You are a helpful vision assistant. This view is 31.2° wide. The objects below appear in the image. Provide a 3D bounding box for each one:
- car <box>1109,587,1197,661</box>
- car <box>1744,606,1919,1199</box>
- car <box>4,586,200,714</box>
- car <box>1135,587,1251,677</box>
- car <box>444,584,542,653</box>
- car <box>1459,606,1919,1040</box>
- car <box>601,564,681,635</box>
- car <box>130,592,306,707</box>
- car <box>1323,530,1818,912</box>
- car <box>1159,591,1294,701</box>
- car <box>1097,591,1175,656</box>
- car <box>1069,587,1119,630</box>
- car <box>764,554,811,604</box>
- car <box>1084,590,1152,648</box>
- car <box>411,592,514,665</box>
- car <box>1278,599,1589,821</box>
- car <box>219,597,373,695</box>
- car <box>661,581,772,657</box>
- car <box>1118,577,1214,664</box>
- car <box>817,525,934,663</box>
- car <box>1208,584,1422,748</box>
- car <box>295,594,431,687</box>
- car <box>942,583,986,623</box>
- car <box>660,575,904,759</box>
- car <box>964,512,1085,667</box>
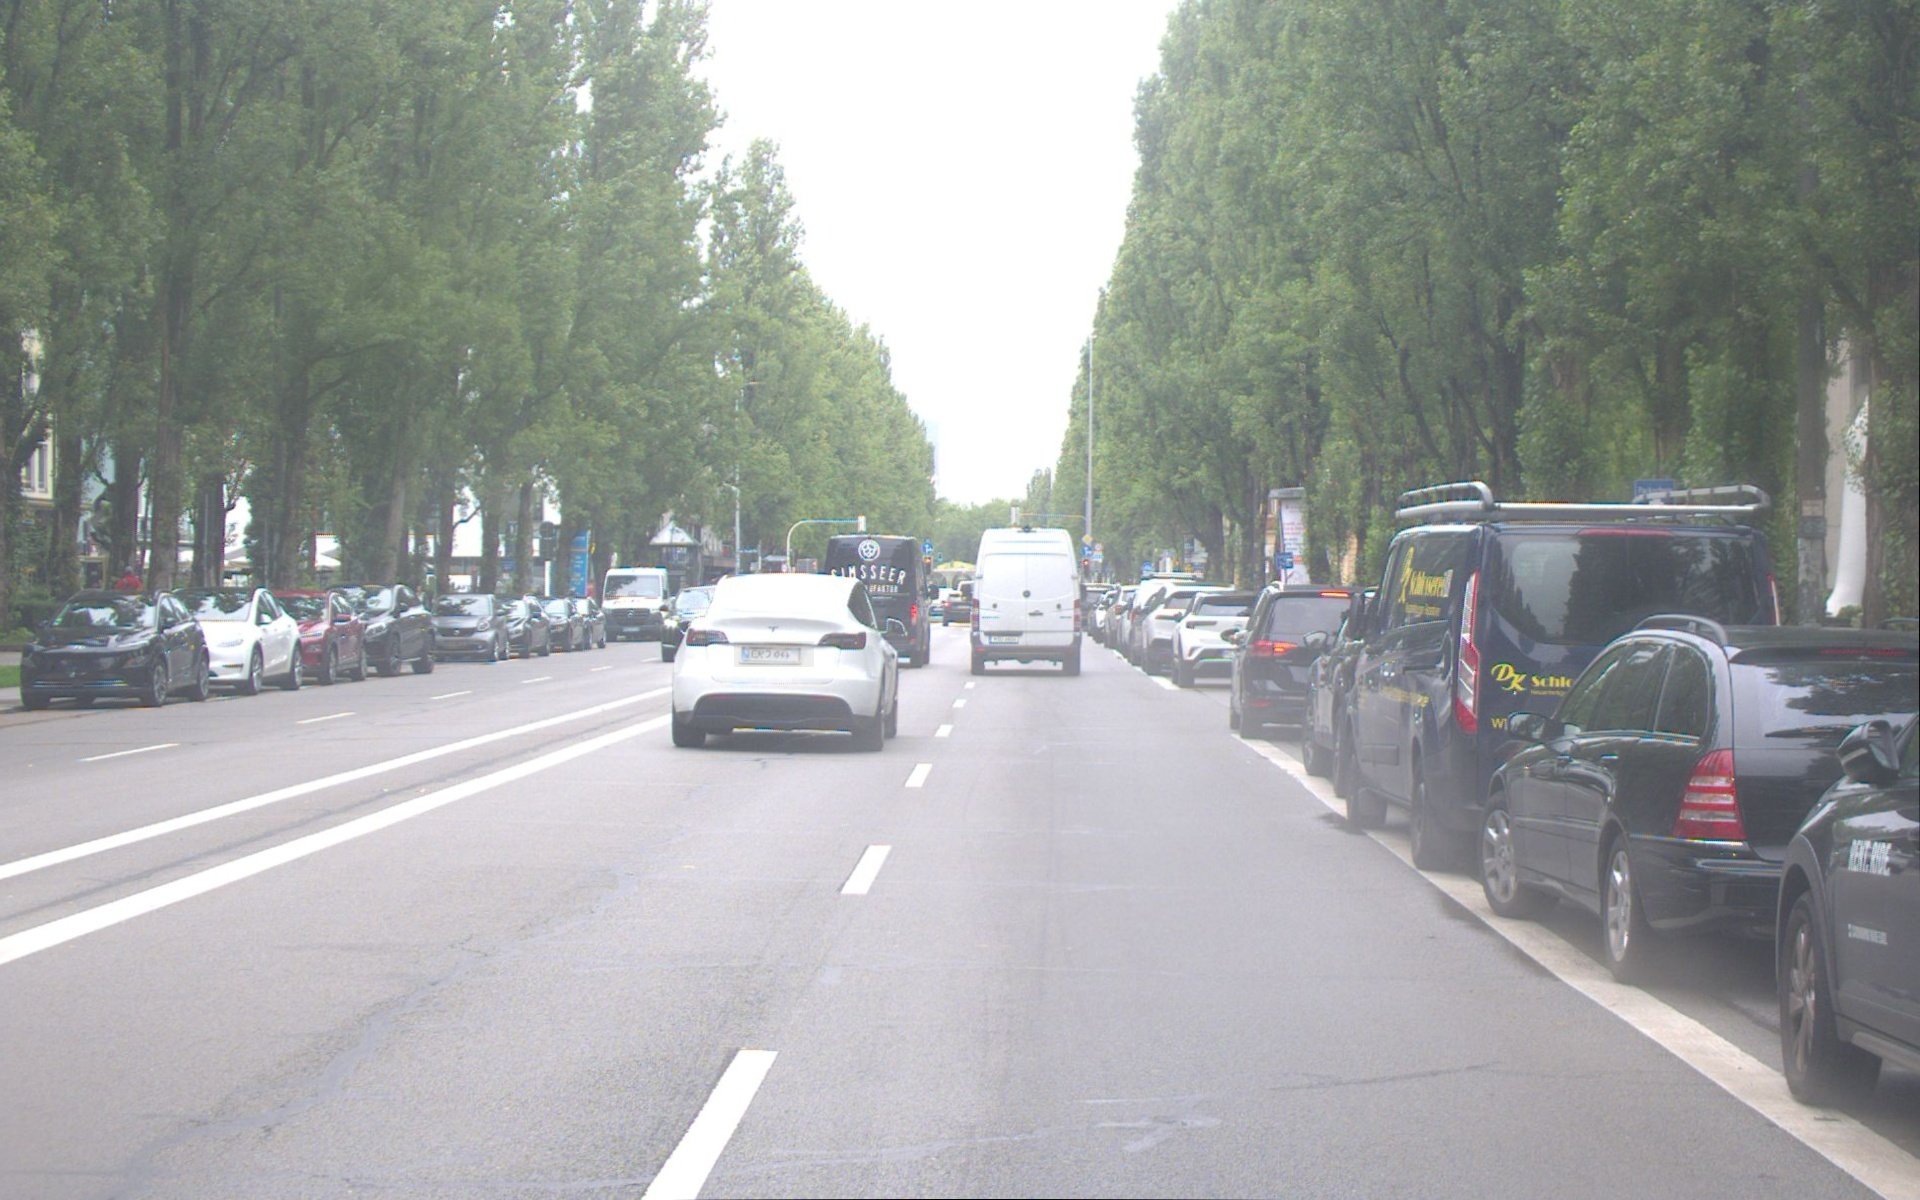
[{"bbox_3d":[4.462,0.534,79.945,1.742,1.637,3.951,2,0,-1],"label":"car"},{"bbox_3d":[3.257,0.804,8.687,1.743,1.522,3.907,2,0,2],"label":"car"},{"bbox_3d":[-11.509,0.642,46.316,1.942,1.573,3.610,0,1,-4],"label":"car"},{"bbox_3d":[4.202,0.563,62.493,1.742,1.541,3.951,2,0,-1],"label":"car"},{"bbox_3d":[-10.924,0.417,80.610,1.761,1.573,3.461,0,0,1],"label":"car"},{"bbox_3d":[3.340,0.818,14.490,1.742,1.522,4.235,2,0,-1],"label":"car"},{"bbox_3d":[-10.046,-0.049,108.685,1.993,2.112,5.000,0,1,1],"label":"car"},{"bbox_3d":[-11.194,0.716,52.112,1.761,1.573,3.972,0,1,1],"label":"car"},{"bbox_3d":[3.419,0.622,20.269,1.910,1.918,5.040,2,0,-1],"label":"car"},{"bbox_3d":[4.174,0.697,54.350,1.742,1.637,3.951,2,0,-1],"label":"car"},{"bbox_3d":[4.593,0.603,90.234,1.742,1.637,3.951,2,0,-1],"label":"car"},{"bbox_3d":[5.360,0.330,138.039,1.742,1.637,3.951,2,0,-1],"label":"car"},{"bbox_3d":[-9.840,-1.208,196.737,2.193,2.709,7.000,0,1,1],"label":"car"},{"bbox_3d":[4.662,0.543,101.817,1.742,1.637,3.951,2,0,-1],"label":"car"},{"bbox_3d":[-11.100,0.614,76.853,1.761,1.573,3.461,0,1,1],"label":"car"},{"bbox_3d":[3.531,0.779,26.273,1.742,1.522,3.951,2,0,-1],"label":"car"},{"bbox_3d":[-11.135,0.751,57.882,1.761,1.573,3.972,0,0,1],"label":"car"},{"bbox_3d":[-5.272,0.396,74.852,1.993,1.543,4.638,2,0,1],"label":"car"},{"bbox_3d":[4.444,0.430,74.566,1.742,1.781,3.951,2,0,-1],"label":"car"},{"bbox_3d":[-1.628,-0.130,68.080,2.076,2.547,5.932,2,0,0],"label":"car"},{"bbox_3d":[3.669,0.651,36.111,1.742,1.586,3.951,2,0,-1],"label":"car"},{"bbox_3d":[-10.985,0.720,63.481,1.761,1.573,3.972,0,1,1],"label":"car"},{"bbox_3d":[0.142,0.121,143.902,1.742,1.637,3.951,2,0,-1],"label":"car"},{"bbox_3d":[-1.612,0.577,32.727,1.993,1.570,4.638,2,0,1],"label":"car"},{"bbox_3d":[1.172,-0.212,63.218,2.040,2.643,6.042,2,1,1],"label":"car"}]
